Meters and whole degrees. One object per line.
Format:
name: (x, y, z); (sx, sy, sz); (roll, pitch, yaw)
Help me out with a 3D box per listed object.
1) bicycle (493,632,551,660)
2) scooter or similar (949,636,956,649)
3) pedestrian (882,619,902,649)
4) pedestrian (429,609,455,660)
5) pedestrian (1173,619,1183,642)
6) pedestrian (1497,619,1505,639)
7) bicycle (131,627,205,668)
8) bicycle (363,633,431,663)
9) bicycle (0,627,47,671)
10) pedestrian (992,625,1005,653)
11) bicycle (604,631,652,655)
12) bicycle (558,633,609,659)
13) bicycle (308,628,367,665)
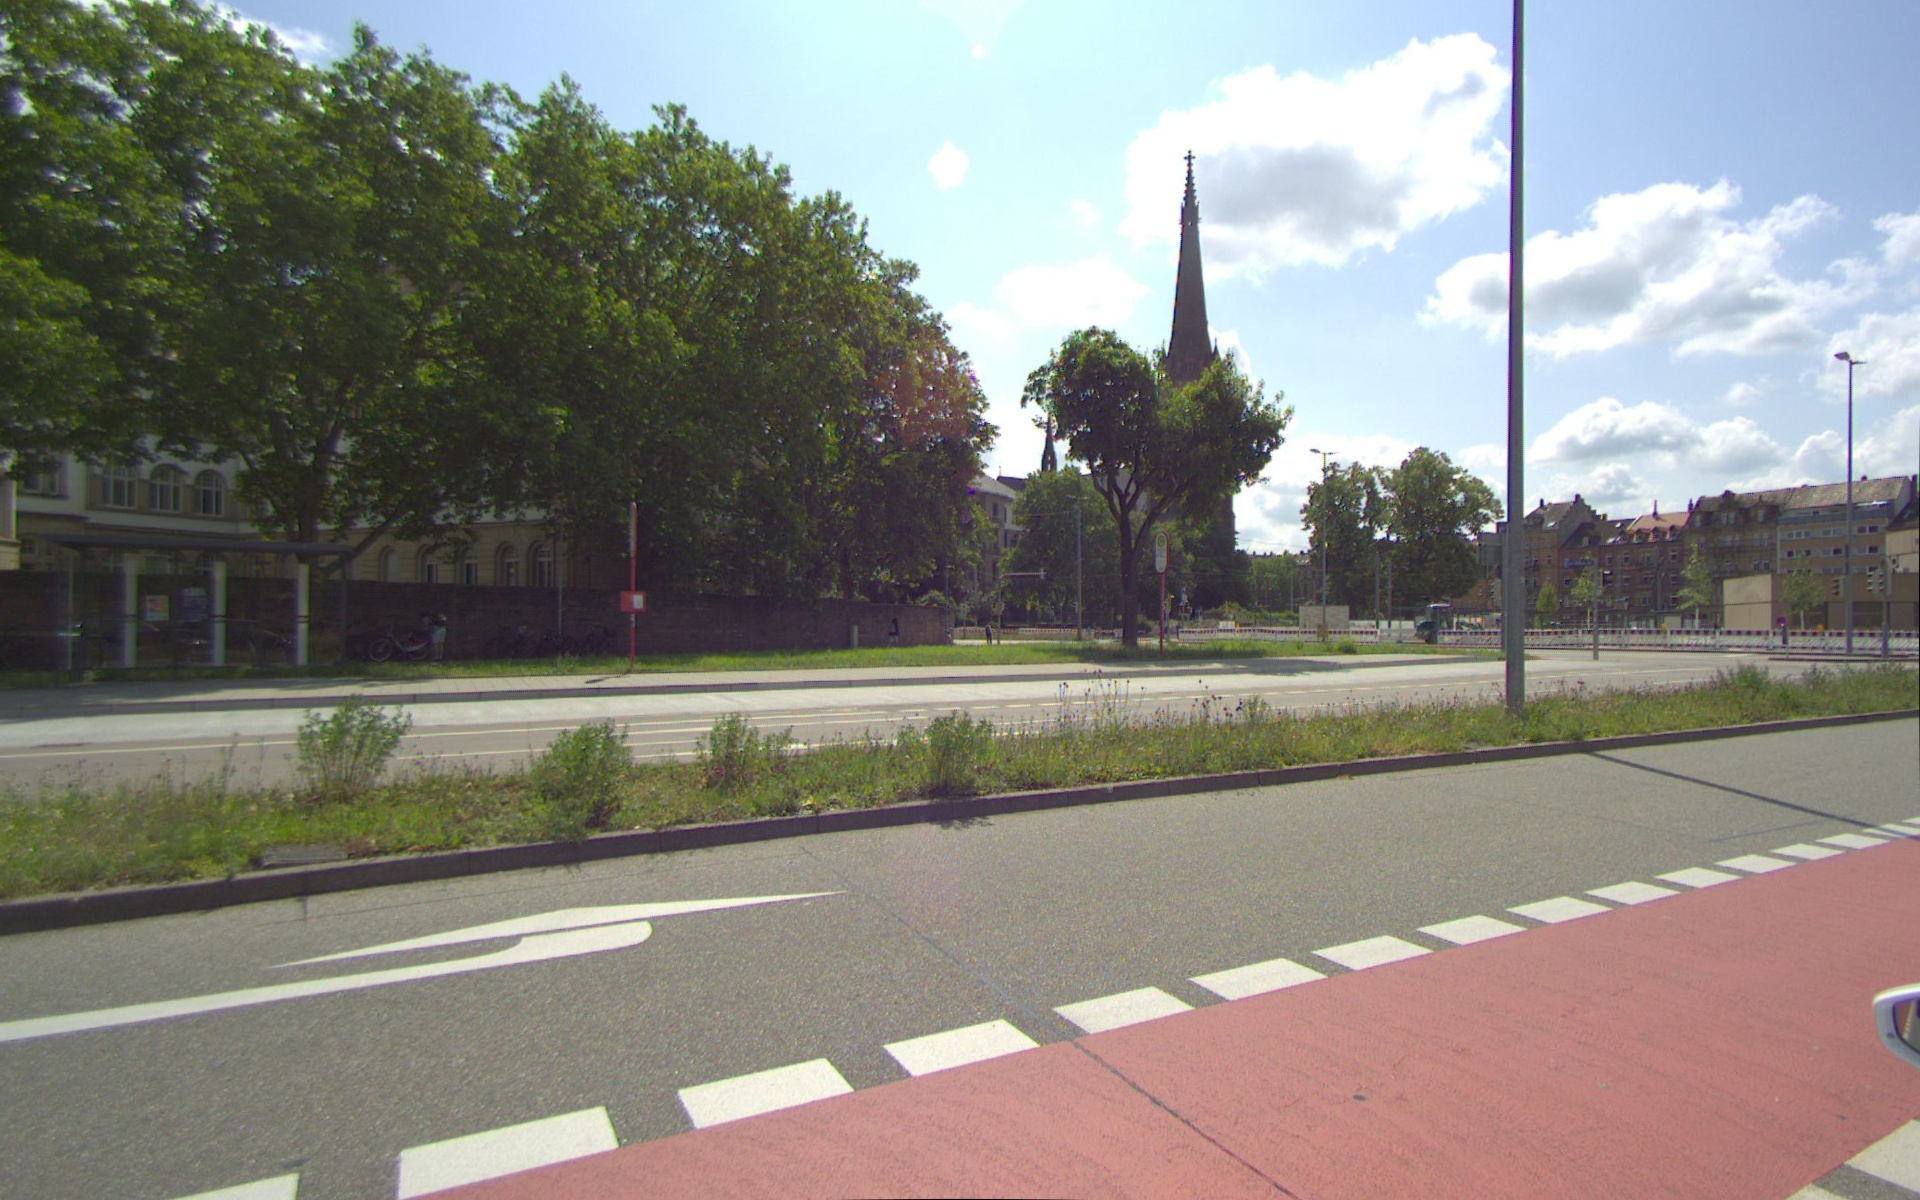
bicycle: (-14.019, 1.463, 32.202); (0.378, 0.828, 1.743); (0, -1, 36)
scooter or similar: (-0.434, 2.477, 58.985); (0.117, 0.721, 1.005); (0, -1, 17)
pedestrian: (-3.276, 1.627, 48.350); (0.720, 1.413, 0.714); (1, -1, -35)
pedestrian: (-15.167, 1.006, 29.388); (0.627, 1.492, 0.506); (1, -1, -32)
pedestrian: (19.156, 2.669, 88.366); (0.642, 2.040, 0.626); (1, -1, -35)
pedestrian: (46.124, 2.483, 85.694); (0.409, 1.674, 0.425); (2, 0, 4)
bicycle: (-19.417, 1.158, 24.649); (0.260, 0.977, 1.391); (0, -1, 36)
bicycle: (-16.239, 1.380, 29.016); (0.324, 0.828, 1.743); (0, -1, 36)
bicycle: (-21.257, 1.091, 22.328); (0.260, 0.977, 1.391); (0, -1, 36)
pedestrian: (2.869, 2.877, 74.762); (0.713, 2.040, 0.721); (1, -1, -32)
bicycle: (-11.774, 1.519, 35.684); (0.324, 0.828, 1.743); (0, -1, 36)
bicycle: (-12.779, 1.552, 34.157); (0.324, 0.828, 1.743); (0, -1, 36)
bicycle: (-17.155, 1.266, 27.716); (0.260, 0.977, 1.391); (0, -1, 36)
